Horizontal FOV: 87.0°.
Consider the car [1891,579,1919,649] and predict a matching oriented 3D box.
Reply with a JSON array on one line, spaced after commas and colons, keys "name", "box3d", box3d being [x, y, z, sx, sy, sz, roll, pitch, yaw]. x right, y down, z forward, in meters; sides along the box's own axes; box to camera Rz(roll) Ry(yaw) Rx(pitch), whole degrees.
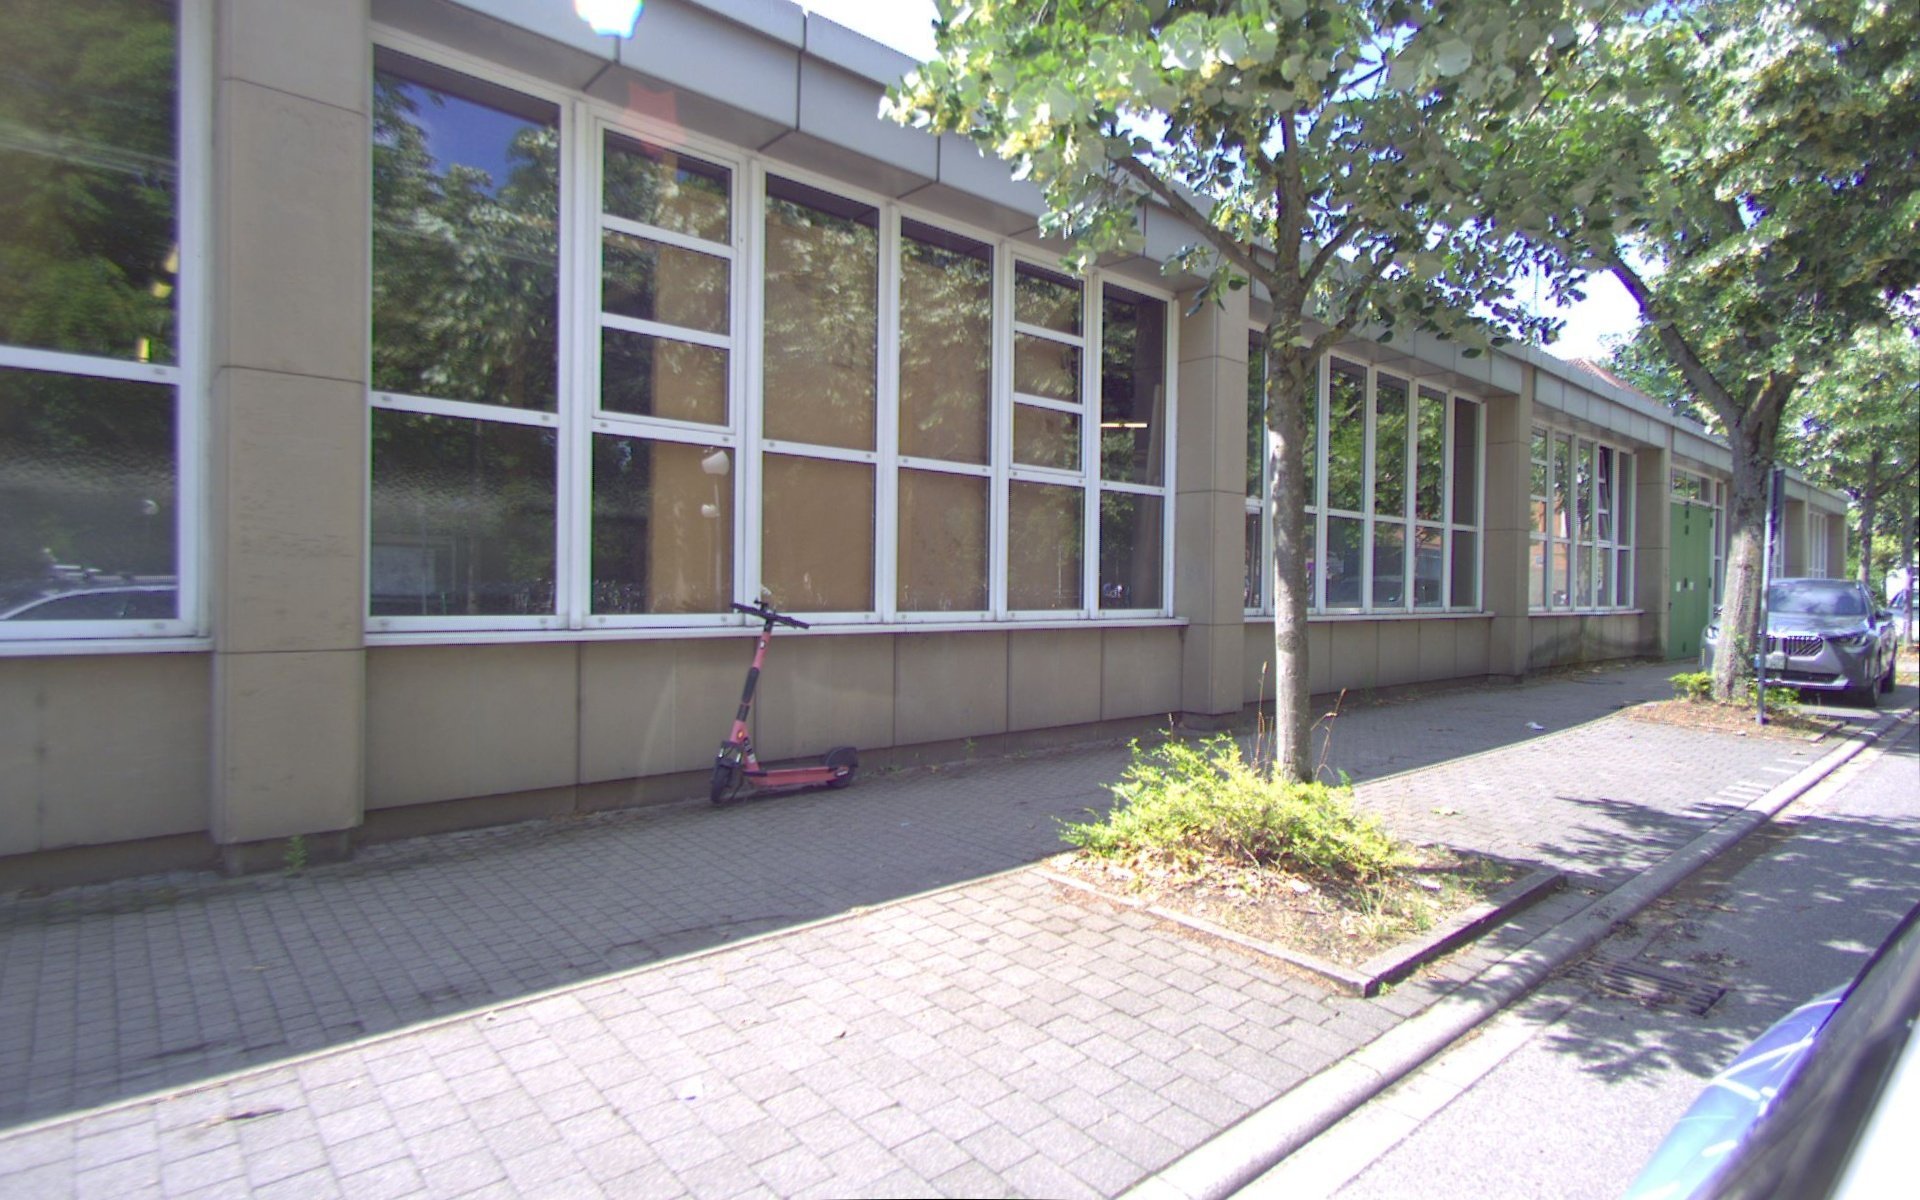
[{"name": "car", "box3d": [23.989, 0.333, 24.565, 4.071, 1.593, 1.706, 0, 2, -43]}]

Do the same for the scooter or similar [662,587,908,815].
[{"name": "scooter or similar", "box3d": [-1.068, 0.563, 6.373, 1.460, 1.265, 0.512, 0, 2, -41]}]

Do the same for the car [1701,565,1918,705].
[{"name": "car", "box3d": [12.285, 0.393, 14.525, 4.507, 1.684, 1.825, 0, 2, -43]}]
